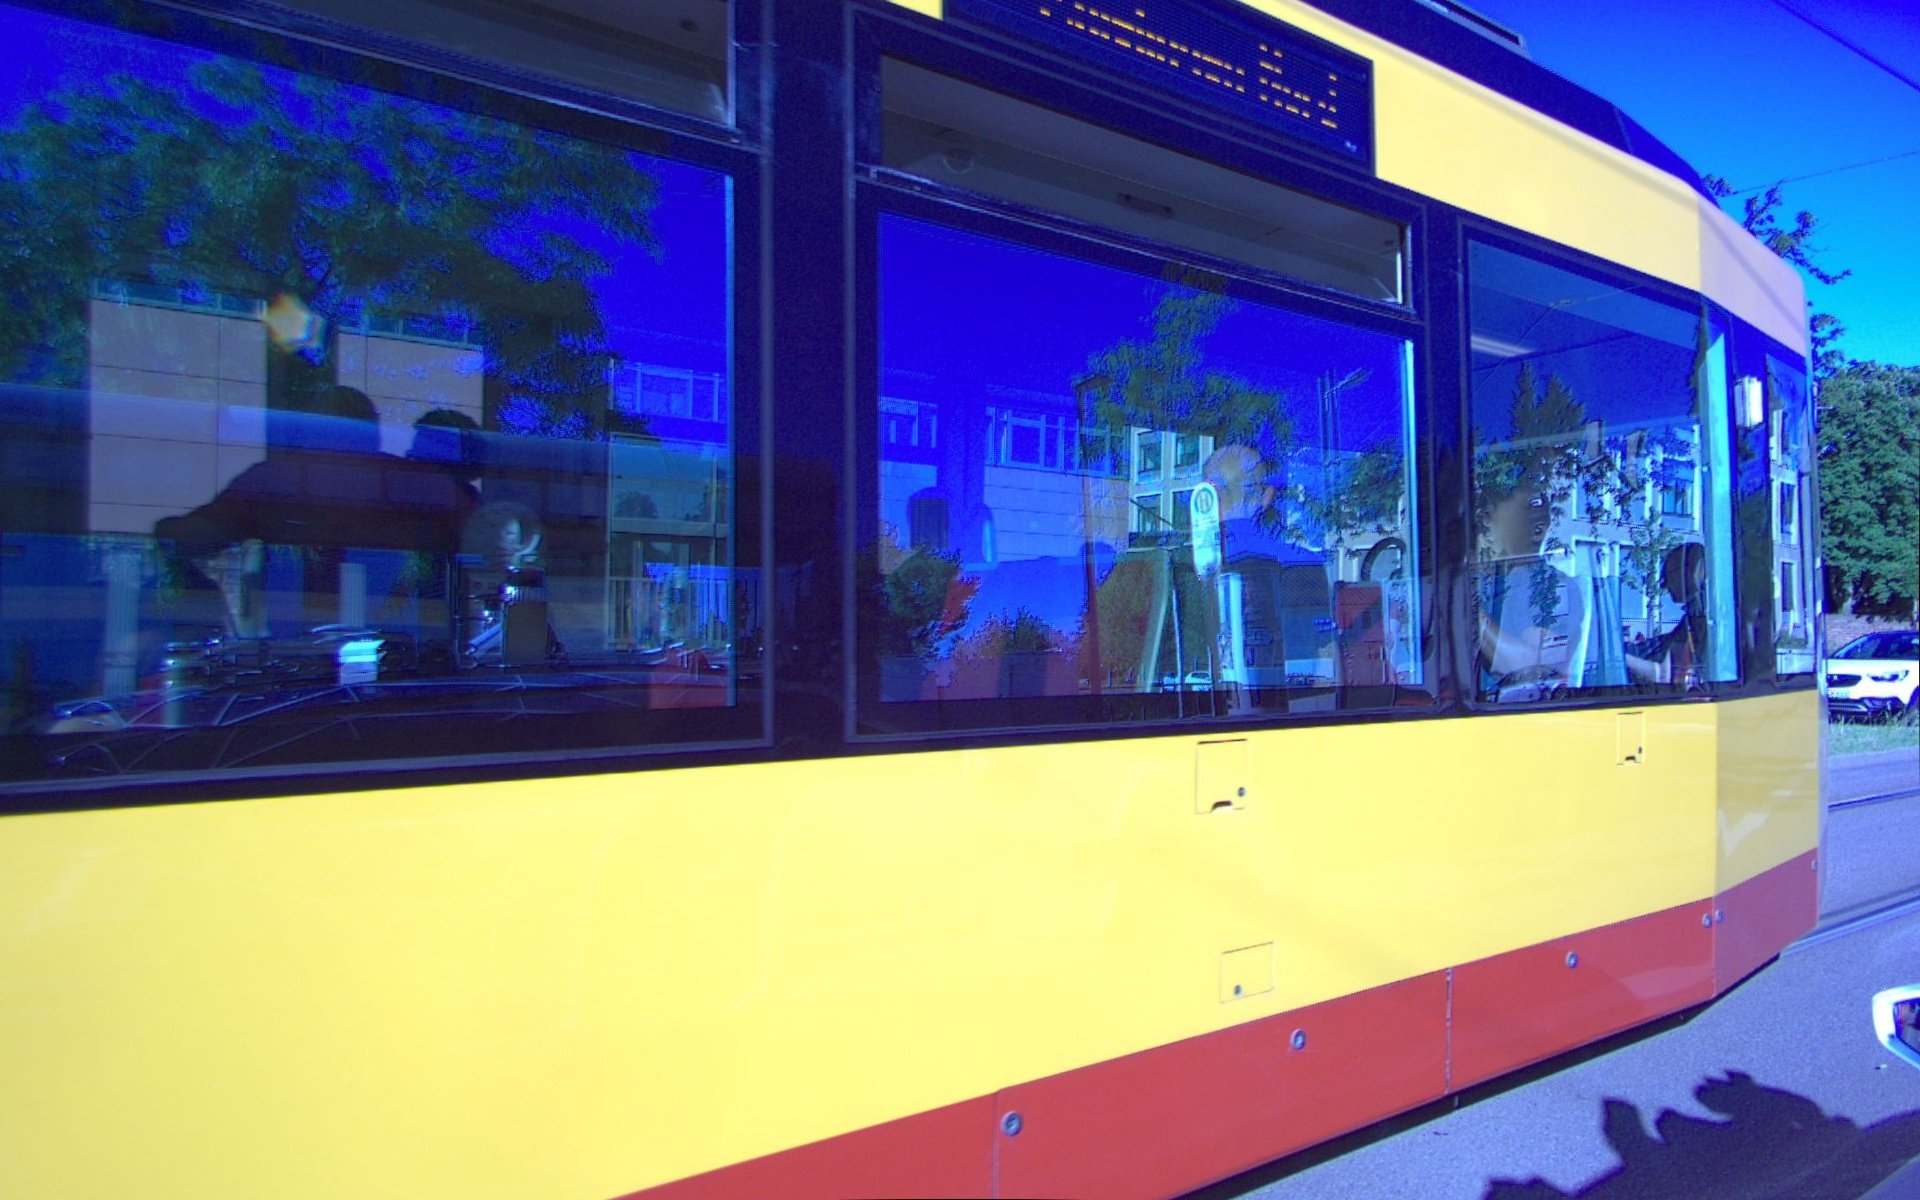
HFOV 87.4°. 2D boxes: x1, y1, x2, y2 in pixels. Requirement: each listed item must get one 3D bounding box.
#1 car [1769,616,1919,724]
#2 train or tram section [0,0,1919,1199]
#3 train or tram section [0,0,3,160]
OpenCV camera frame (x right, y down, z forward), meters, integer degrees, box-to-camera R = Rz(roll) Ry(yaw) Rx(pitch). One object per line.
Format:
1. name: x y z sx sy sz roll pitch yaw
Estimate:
1. car: 16.172 1.145 17.019 4.140 1.685 1.765 1 -1 -16
2. train or tram section: 0.657 -0.348 3.604 6.590 3.506 2.790 1 0 -30
3. train or tram section: -5.139 -0.488 0.213 6.590 3.506 2.790 1 0 -30
